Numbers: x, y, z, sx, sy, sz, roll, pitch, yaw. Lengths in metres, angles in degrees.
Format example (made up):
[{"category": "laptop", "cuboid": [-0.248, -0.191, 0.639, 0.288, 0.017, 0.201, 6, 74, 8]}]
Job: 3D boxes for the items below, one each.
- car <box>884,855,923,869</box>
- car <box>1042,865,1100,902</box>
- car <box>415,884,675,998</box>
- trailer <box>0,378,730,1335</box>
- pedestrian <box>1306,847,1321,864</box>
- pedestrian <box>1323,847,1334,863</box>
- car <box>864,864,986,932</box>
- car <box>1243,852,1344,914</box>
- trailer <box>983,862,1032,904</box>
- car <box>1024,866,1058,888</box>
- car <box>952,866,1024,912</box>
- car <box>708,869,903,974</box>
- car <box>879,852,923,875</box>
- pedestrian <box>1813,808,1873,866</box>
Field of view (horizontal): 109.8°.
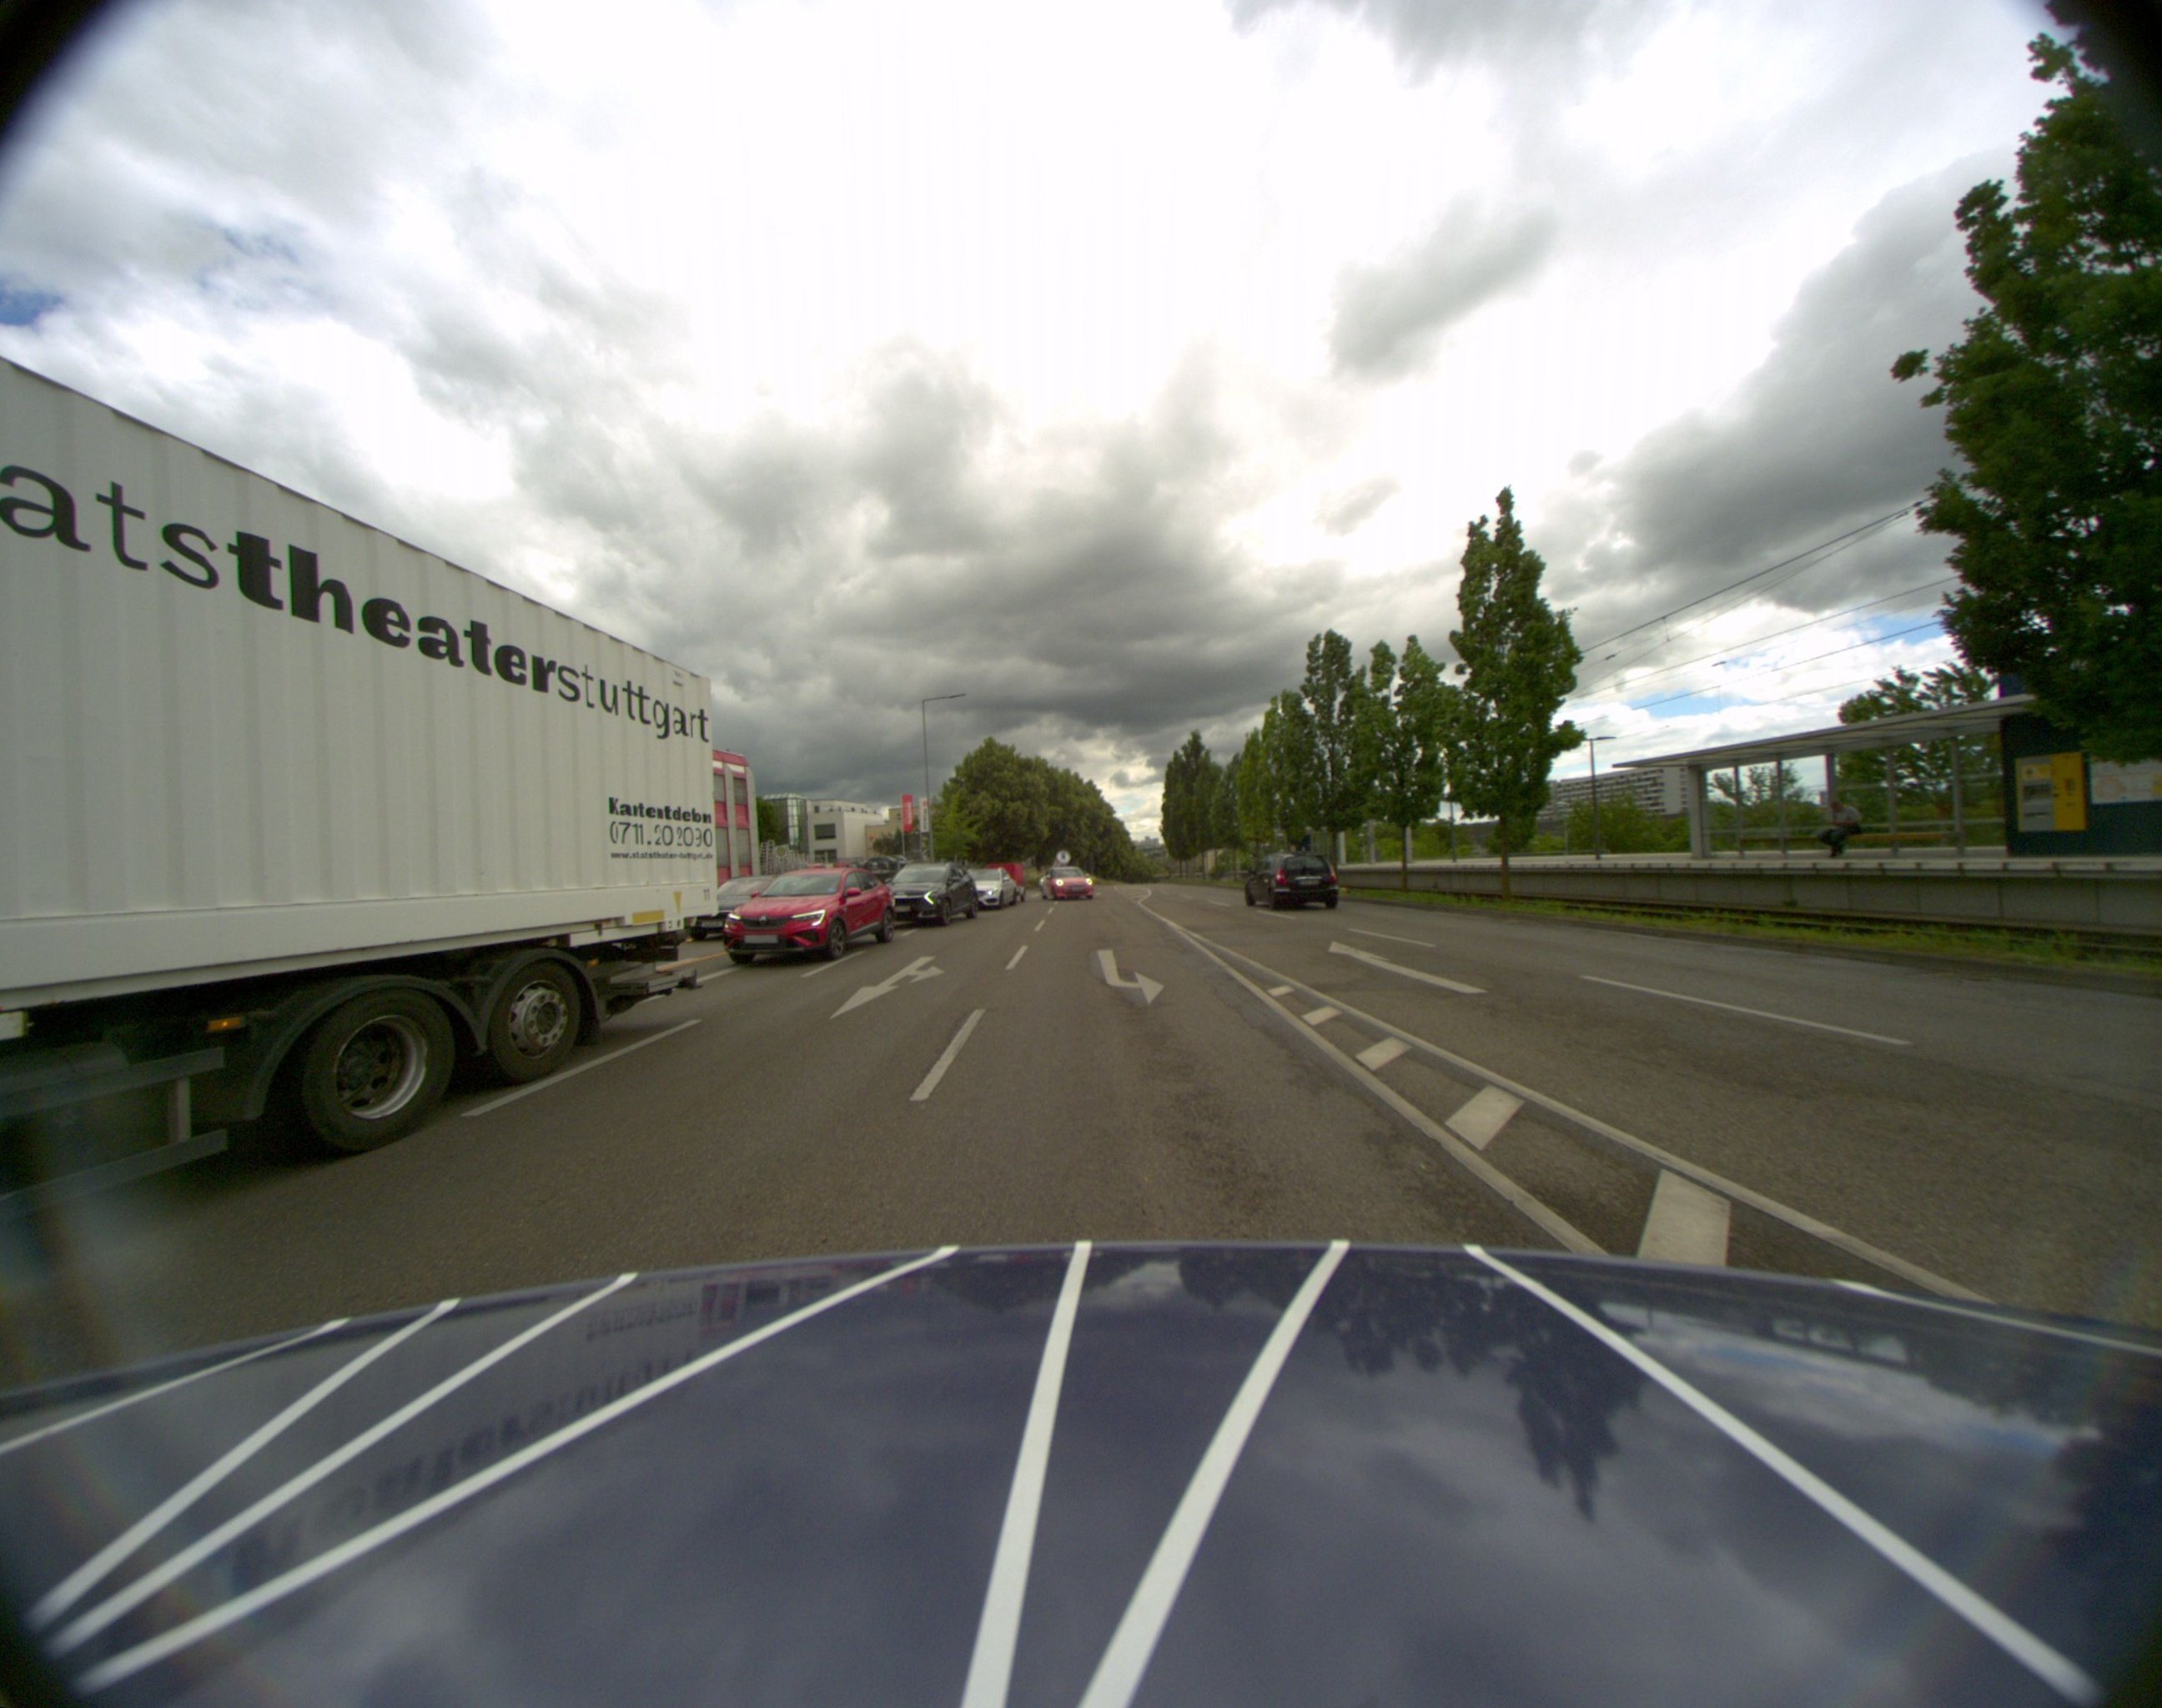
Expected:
[{"category": "car", "cuboid": [-19.582, 0.889, 83.855, 3.762, 1.355, 1.757, -4, -2, 10]}, {"category": "car", "cuboid": [-0.486, 1.262, 33.115, 1.725, 1.448, 3.693, -2, -1, -13]}, {"category": "car", "cuboid": [-8.656, 1.318, 12.716, 1.627, 1.448, 3.689, -3, 0, 1]}, {"category": "trailer", "cuboid": [-5.385, 0.033, 4.621, 2.572, 3.683, 7.765, -2, 0, 2]}, {"category": "pedestrian", "cuboid": [16.503, 0.104, 53.940, 0.763, 1.192, 0.665, -2, -1, 0]}, {"category": "pedestrian", "cuboid": [17.285, 0.062, 53.070, 0.608, 1.072, 0.470, -2, -2, 0]}, {"category": "car", "cuboid": [-4.062, 1.098, 20.645, 1.848, 1.552, 4.407, -2, 0, 7]}, {"category": "car", "cuboid": [5.946, 0.797, 21.695, 1.730, 1.564, 3.707, -1, -1, -1]}, {"category": "trailer", "cuboid": [-2.979, 1.167, 31.452, 1.412, 1.584, 3.305, -2, -1, 5]}, {"category": "car", "cuboid": [-2.700, 1.576, 51.837, 1.739, 1.365, 4.003, -2, -2, 5]}, {"category": "car", "cuboid": [-3.271, 1.214, 27.542, 1.675, 1.439, 4.491, -2, 0, 5]}, {"category": "car", "cuboid": [-4.822, 1.106, 14.045, 1.711, 1.515, 4.321, -2, 0, 4]}, {"category": "car", "cuboid": [-17.450, 0.935, 73.701, 3.762, 1.946, 1.645, -4, -2, 10]}, {"category": "pedestrian", "cuboid": [17.523, -0.386, 17.487, 0.611, 1.261, 0.660, -2, -2, -4]}]
